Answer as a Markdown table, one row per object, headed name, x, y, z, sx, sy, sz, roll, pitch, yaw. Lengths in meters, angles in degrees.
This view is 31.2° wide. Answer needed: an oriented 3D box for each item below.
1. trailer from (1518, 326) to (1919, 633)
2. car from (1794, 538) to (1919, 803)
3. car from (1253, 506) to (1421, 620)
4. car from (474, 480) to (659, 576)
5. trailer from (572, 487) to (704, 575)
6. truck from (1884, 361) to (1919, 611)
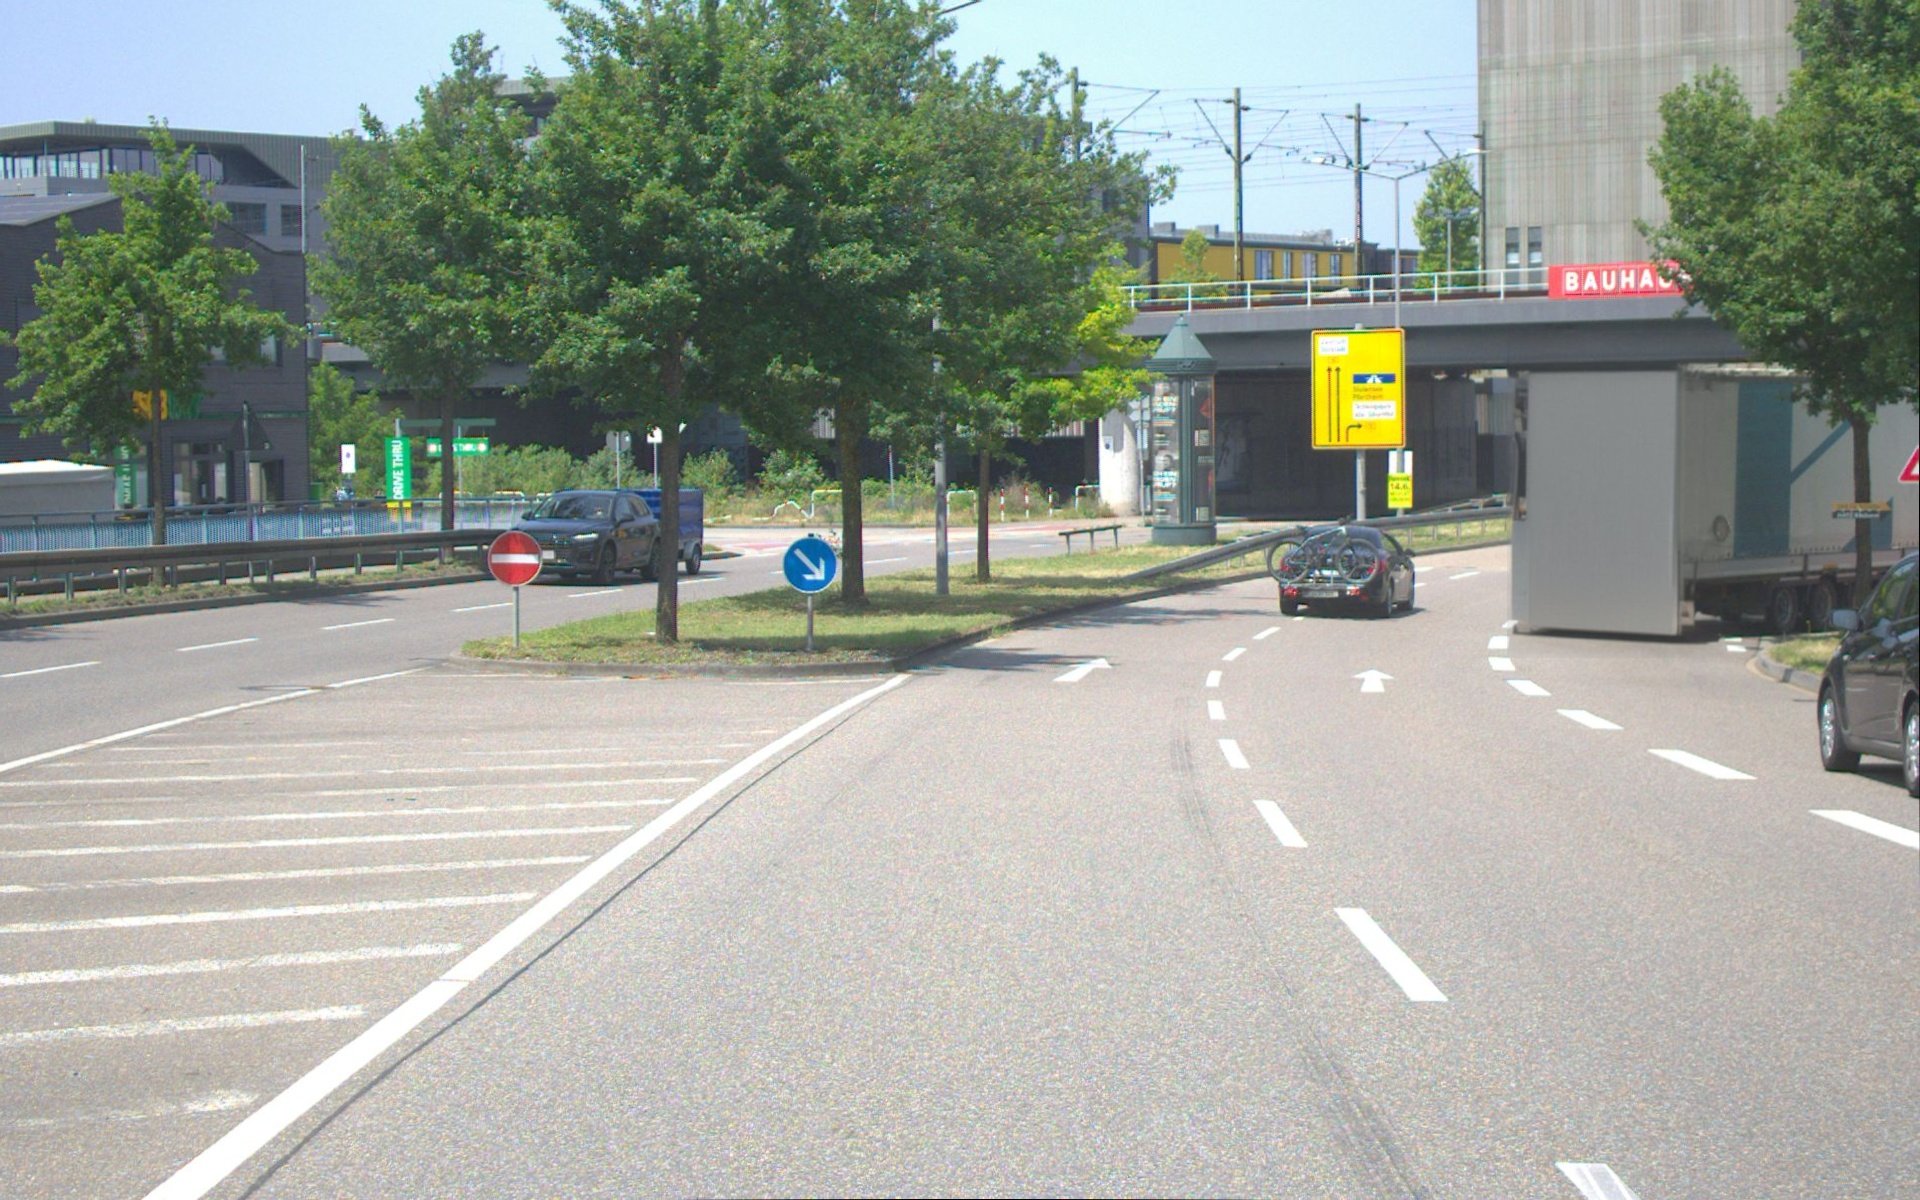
| name | x | y | z | sx | sy | sz | roll | pitch | yaw |
| --- | --- | --- | --- | --- | --- | --- | --- | --- | --- |
| trailer | 14.384 | -1.875 | 55.935 | 3.086 | 4.353 | 14.739 | 5 | 4 | 40 |
| car | 6.741 | 0.398 | 22.470 | 1.767 | 1.593 | 4.077 | 0 | 1 | 3 |
| car | 6.094 | -0.630 | 55.239 | 1.958 | 1.628 | 4.277 | 1 | 3 | 16 |
| car | -7.050 | -1.292 | 62.056 | 1.915 | 1.646 | 4.405 | -1 | 1 | 14 |
| trailer | -6.142 | -1.314 | 65.825 | 1.506 | 1.610 | 3.306 | -1 | 1 | 13 |
| truck | 19.878 | -1.887 | 60.818 | 6.057 | 4.353 | 3.087 | 1 | 3 | -26 |
